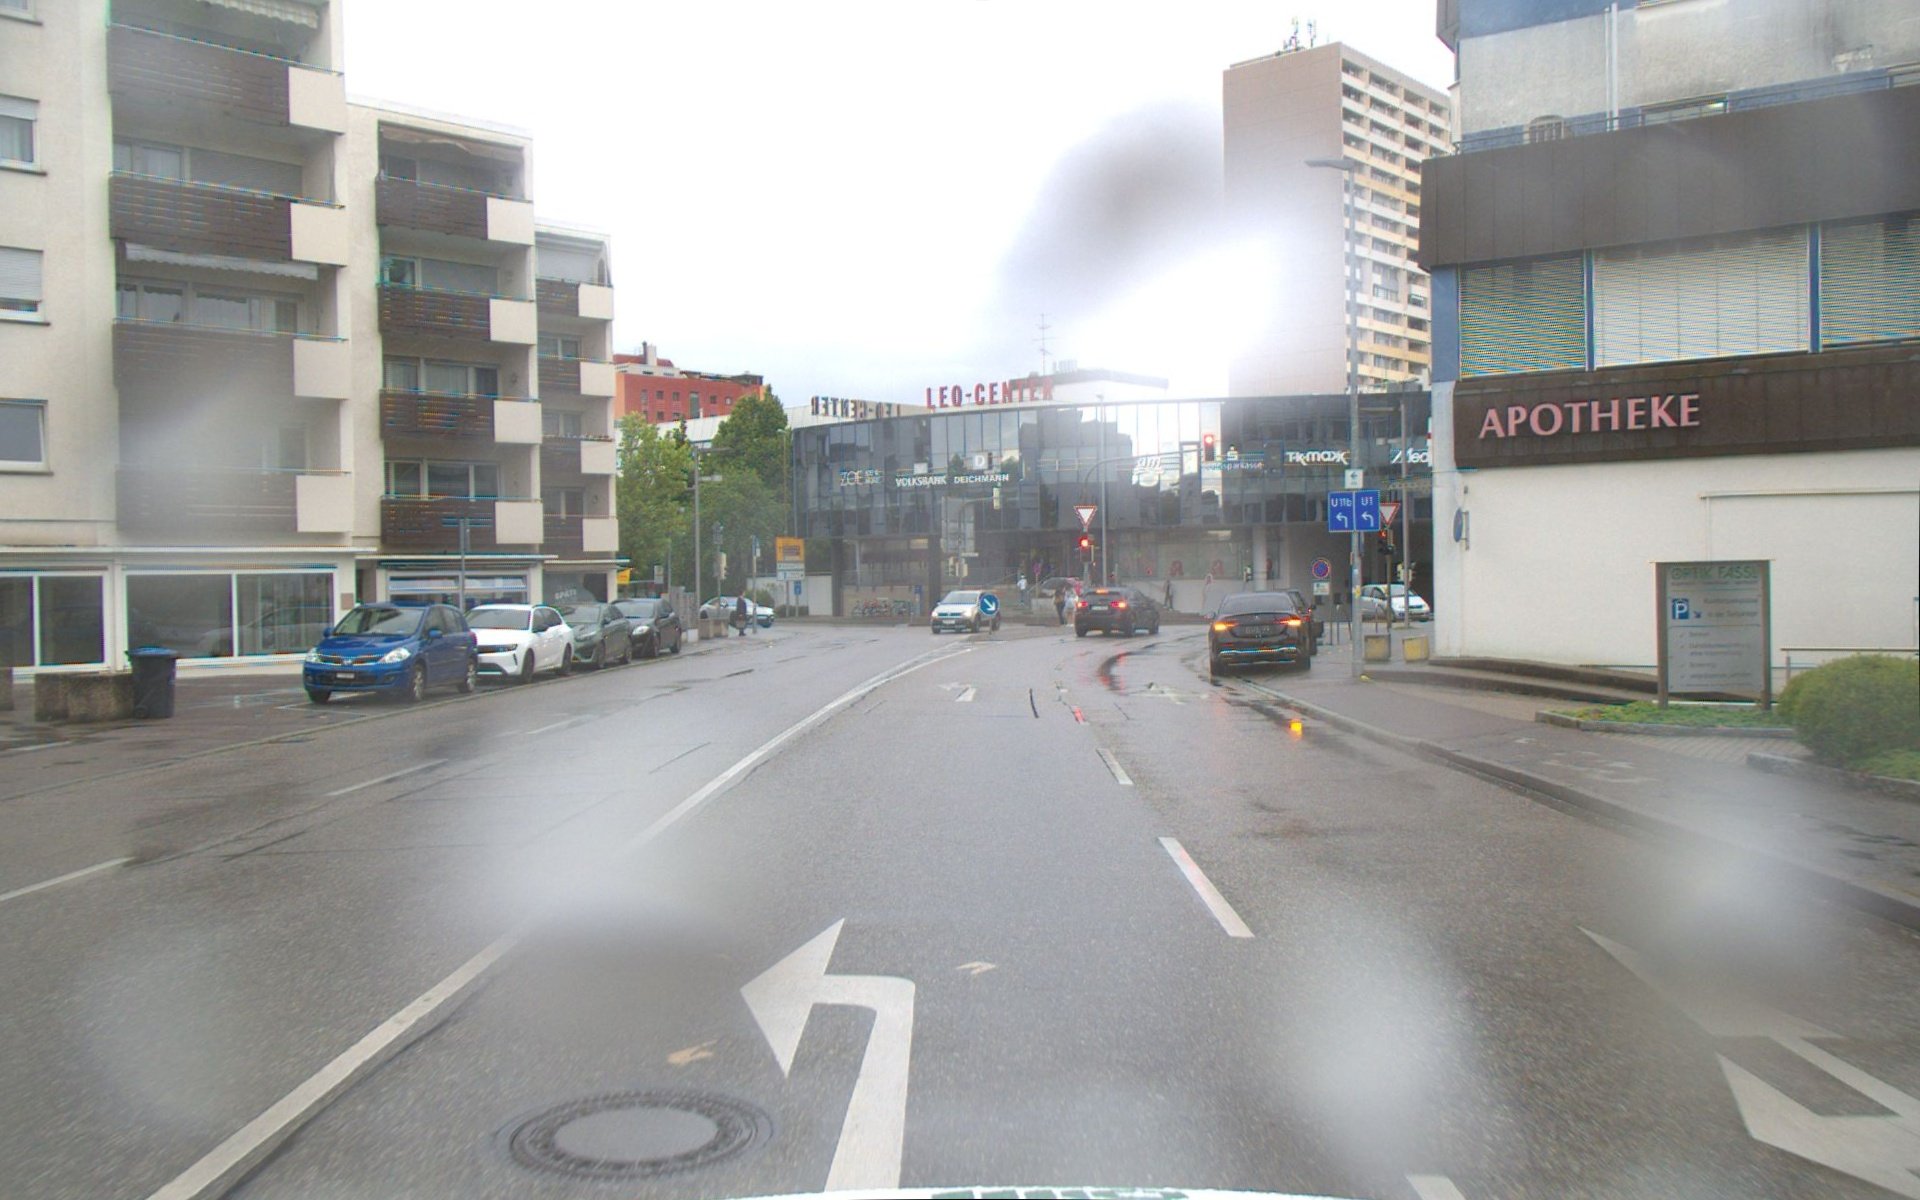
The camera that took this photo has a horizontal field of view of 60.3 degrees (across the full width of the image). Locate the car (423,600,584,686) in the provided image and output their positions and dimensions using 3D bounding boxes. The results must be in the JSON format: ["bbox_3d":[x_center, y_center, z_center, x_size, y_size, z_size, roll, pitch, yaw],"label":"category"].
[{"bbox_3d":[-8.783,0.783,32.208,1.658,1.489,4.685,-1,0,2],"label":"car"}]

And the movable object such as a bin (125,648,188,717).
[{"bbox_3d":[-11.290,1.152,23.259,0.562,0.918,0.598,-1,0,2],"label":"movable object such as a bin"}]

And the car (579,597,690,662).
[{"bbox_3d":[-8.475,0.736,43.401,1.894,1.568,4.274,-1,0,2],"label":"car"}]

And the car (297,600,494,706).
[{"bbox_3d":[-9.068,0.797,26.948,1.617,1.547,4.325,-1,0,2],"label":"car"}]

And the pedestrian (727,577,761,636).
[{"bbox_3d":[-7.626,0.236,58.316,0.733,2.048,0.921,3,0,22],"label":"pedestrian"}]

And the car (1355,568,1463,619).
[{"bbox_3d":[18.659,-0.275,68.836,1.982,2.049,3.940,-1,0,-41],"label":"car"}]

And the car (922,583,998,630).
[{"bbox_3d":[0.026,0.200,58.804,1.786,1.464,3.844,-3,1,14],"label":"car"}]

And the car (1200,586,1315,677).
[{"bbox_3d":[5.588,0.580,30.864,1.951,1.560,4.651,0,-1,11],"label":"car"}]

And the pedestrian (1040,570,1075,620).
[{"bbox_3d":[3.386,-0.168,57.334,0.897,1.688,0.749,2,1,-26],"label":"pedestrian"}]

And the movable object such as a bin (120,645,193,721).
[{"bbox_3d":[-10.934,1.120,22.526,0.634,0.982,0.683,-1,0,2],"label":"movable object such as a bin"}]

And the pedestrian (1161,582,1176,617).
[{"bbox_3d":[12.412,-0.028,98.591,0.770,2.049,0.671,-1,0,12],"label":"pedestrian"}]

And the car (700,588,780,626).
[{"bbox_3d":[-10.518,0.300,78.964,1.977,1.538,4.380,2,2,-35],"label":"car"}]

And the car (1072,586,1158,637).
[{"bbox_3d":[4.765,0.330,50.368,1.766,1.444,4.002,-1,0,18],"label":"car"}]

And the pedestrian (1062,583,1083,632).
[{"bbox_3d":[3.964,0.261,58.233,0.597,1.688,0.672,3,1,-3],"label":"pedestrian"}]

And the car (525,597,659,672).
[{"bbox_3d":[-8.313,0.731,37.787,1.894,1.568,4.522,-1,0,2],"label":"car"}]
